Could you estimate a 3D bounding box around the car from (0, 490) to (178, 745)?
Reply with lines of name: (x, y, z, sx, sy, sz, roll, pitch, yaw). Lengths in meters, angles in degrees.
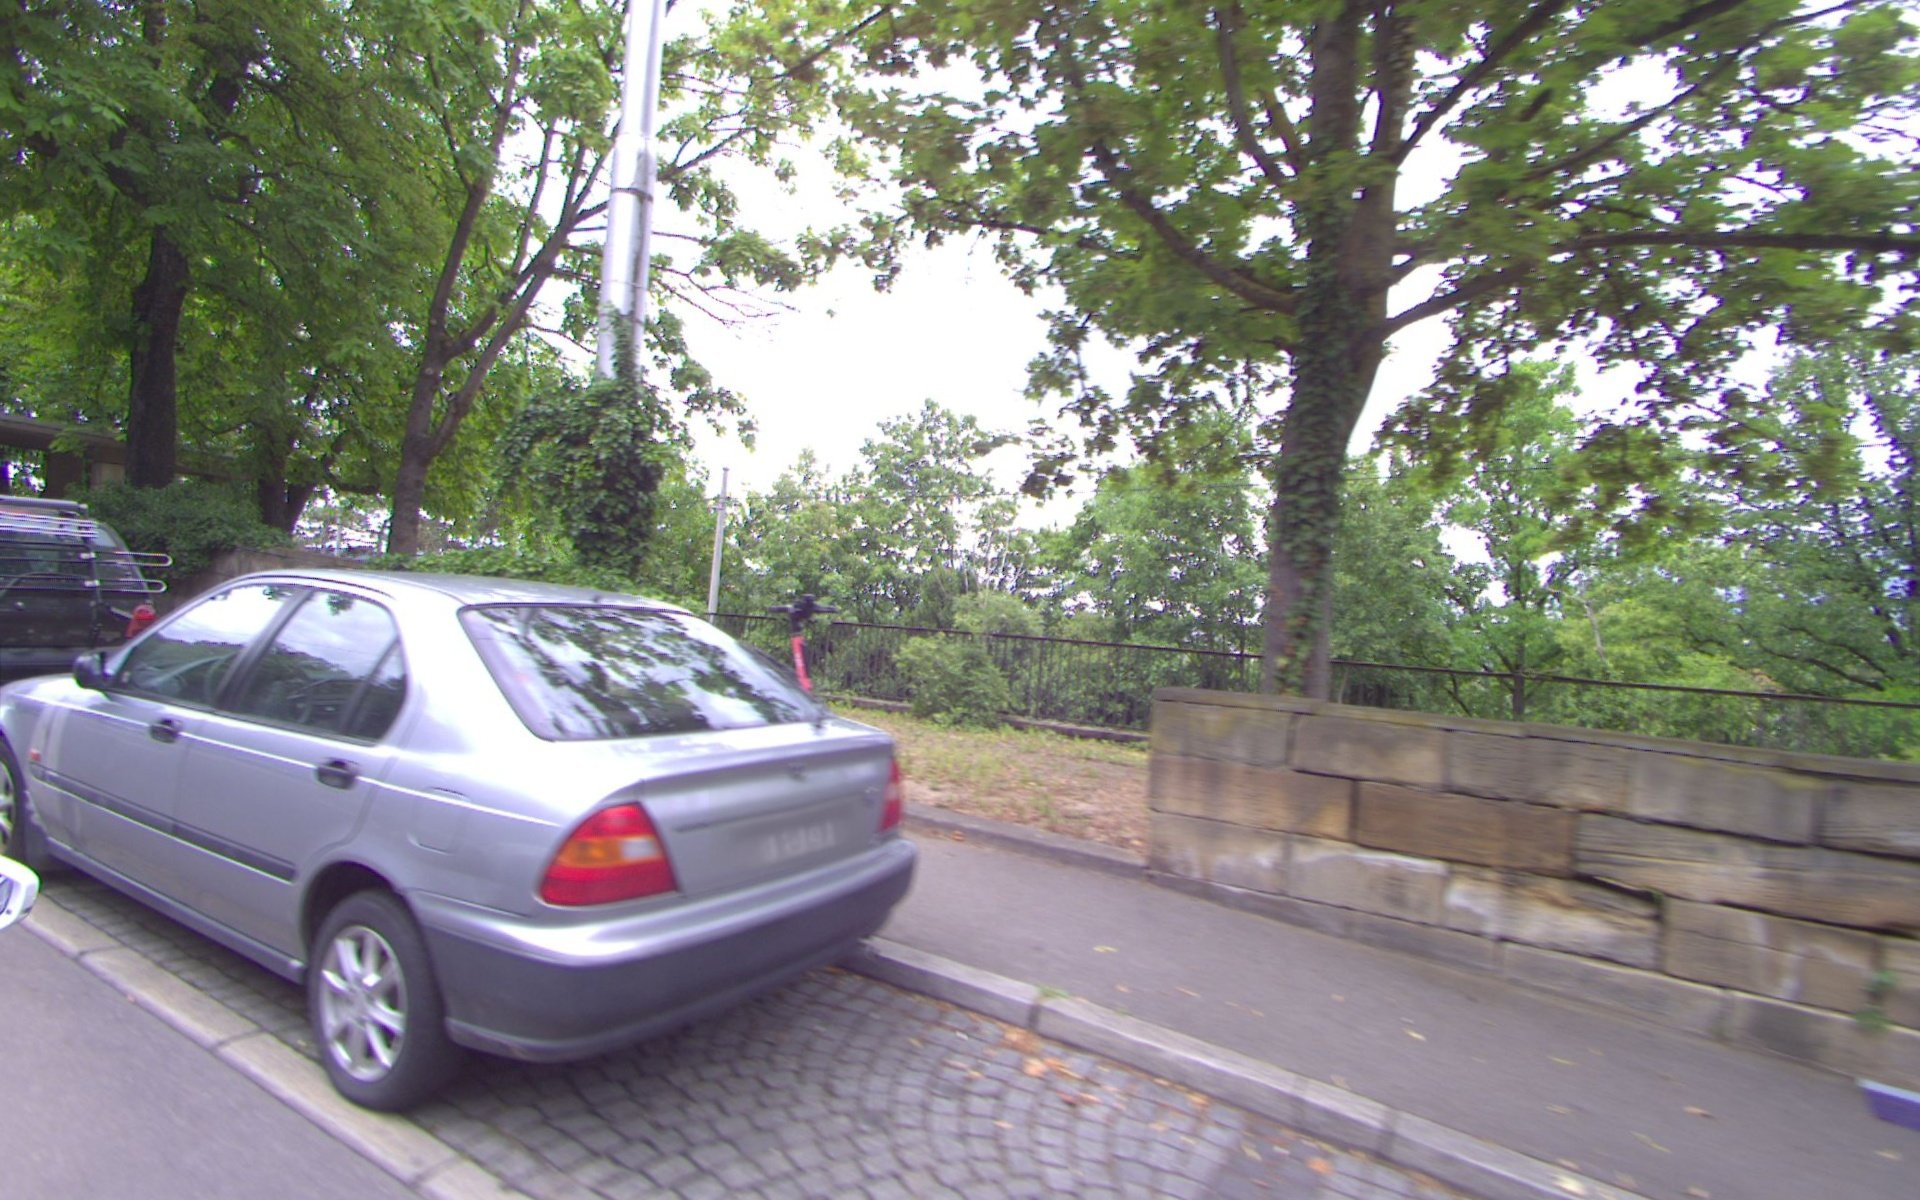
car: (-6.897, -0.046, 6.568, 3.365, 1.441, 1.563, 6, 2, 28)

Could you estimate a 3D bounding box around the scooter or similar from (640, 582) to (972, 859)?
scooter or similar: (-0.949, 0.600, 5.838, 1.967, 1.262, 0.560, 6, 5, 32)

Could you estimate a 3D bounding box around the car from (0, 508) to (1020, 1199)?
car: (-2.210, 0.524, 3.943, 4.474, 1.416, 1.772, 6, 1, 30)
